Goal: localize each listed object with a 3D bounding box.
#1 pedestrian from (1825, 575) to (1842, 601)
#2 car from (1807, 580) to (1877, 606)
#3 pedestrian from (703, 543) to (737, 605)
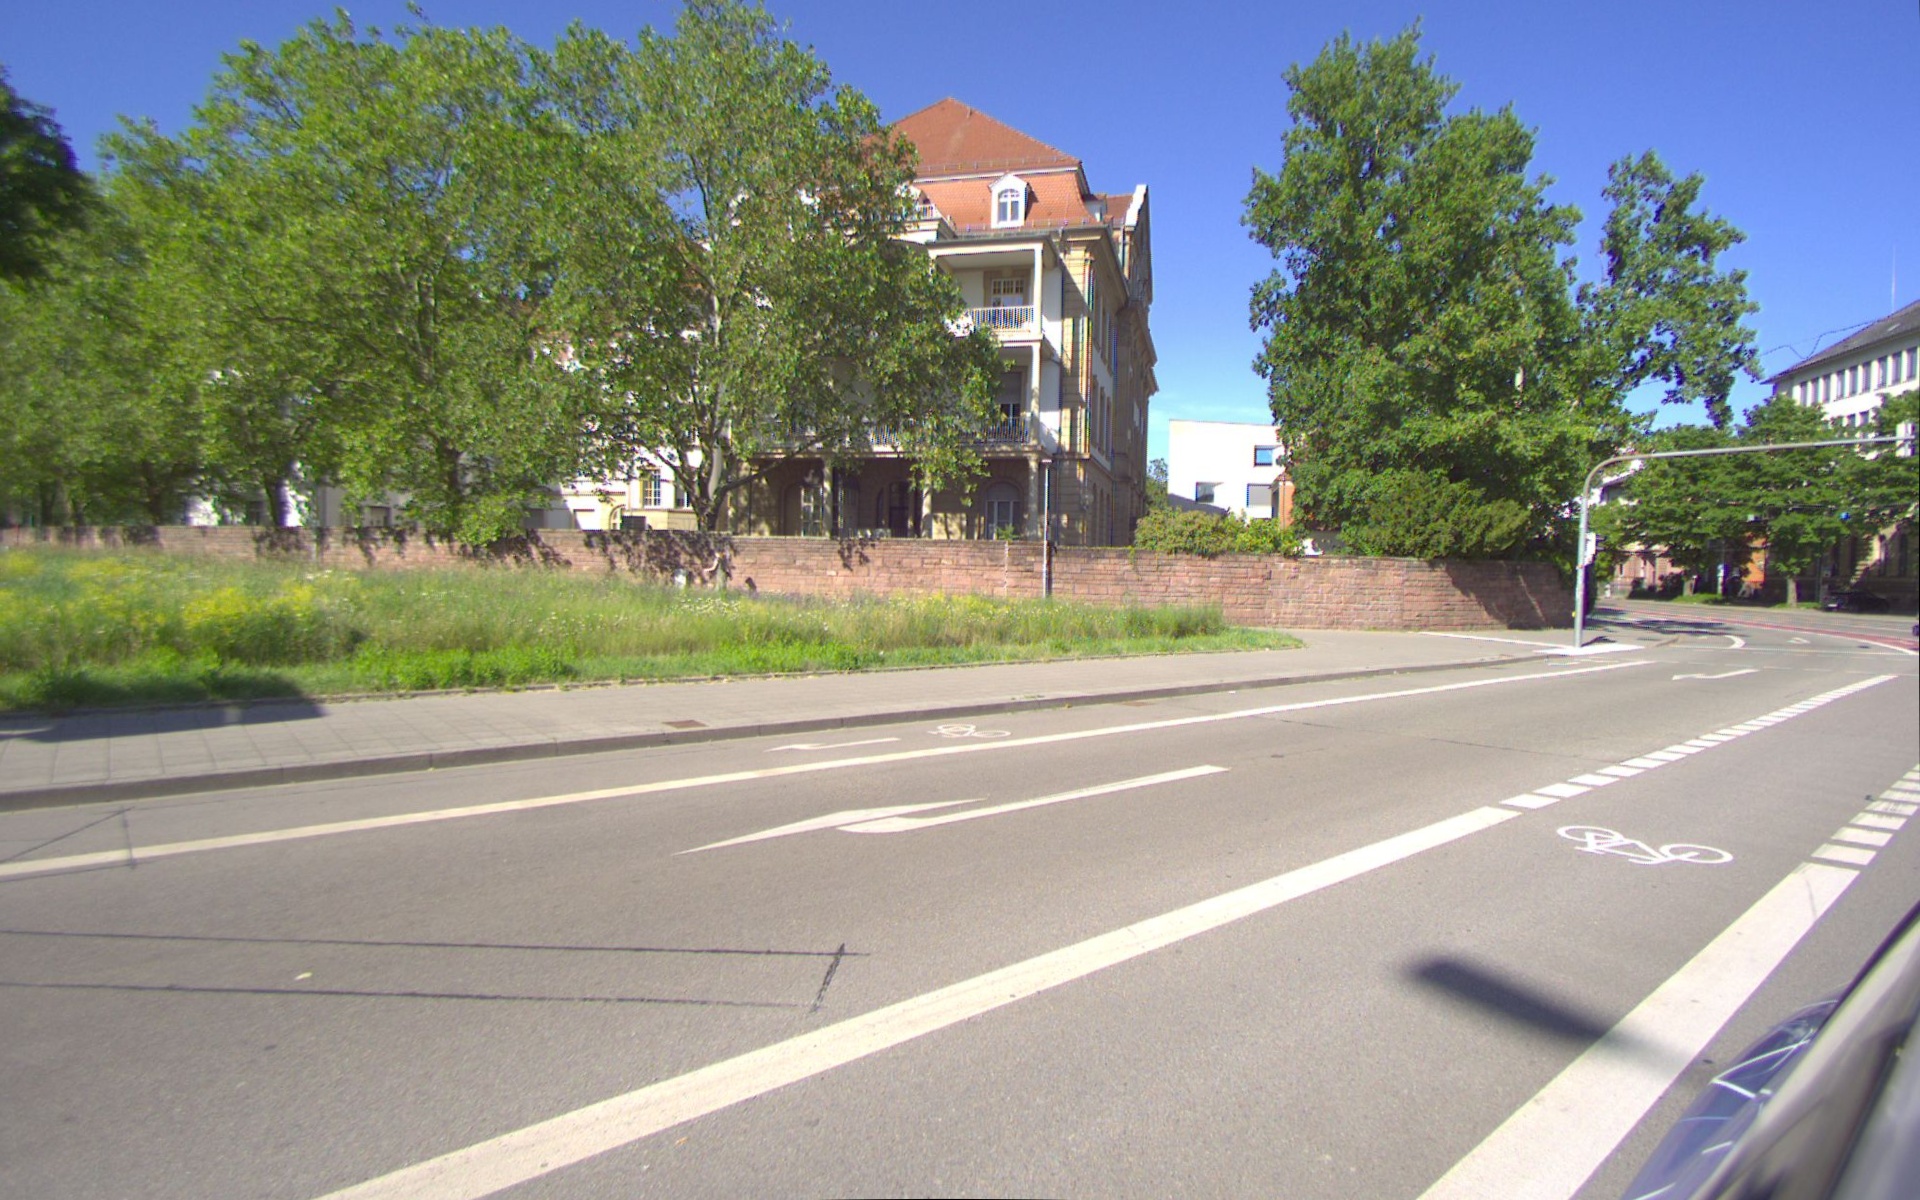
[{"bbox_3d":[64.641,-0.907,74.877,0.568,1.927,0.781,1,1,12],"label":"pedestrian"},{"bbox_3d":[60.193,-0.520,69.153,1.806,1.615,3.988,2,2,11],"label":"car"},{"bbox_3d":[-7.385,-0.794,31.129,0.777,1.881,0.627,2,1,19],"label":"pedestrian"}]
